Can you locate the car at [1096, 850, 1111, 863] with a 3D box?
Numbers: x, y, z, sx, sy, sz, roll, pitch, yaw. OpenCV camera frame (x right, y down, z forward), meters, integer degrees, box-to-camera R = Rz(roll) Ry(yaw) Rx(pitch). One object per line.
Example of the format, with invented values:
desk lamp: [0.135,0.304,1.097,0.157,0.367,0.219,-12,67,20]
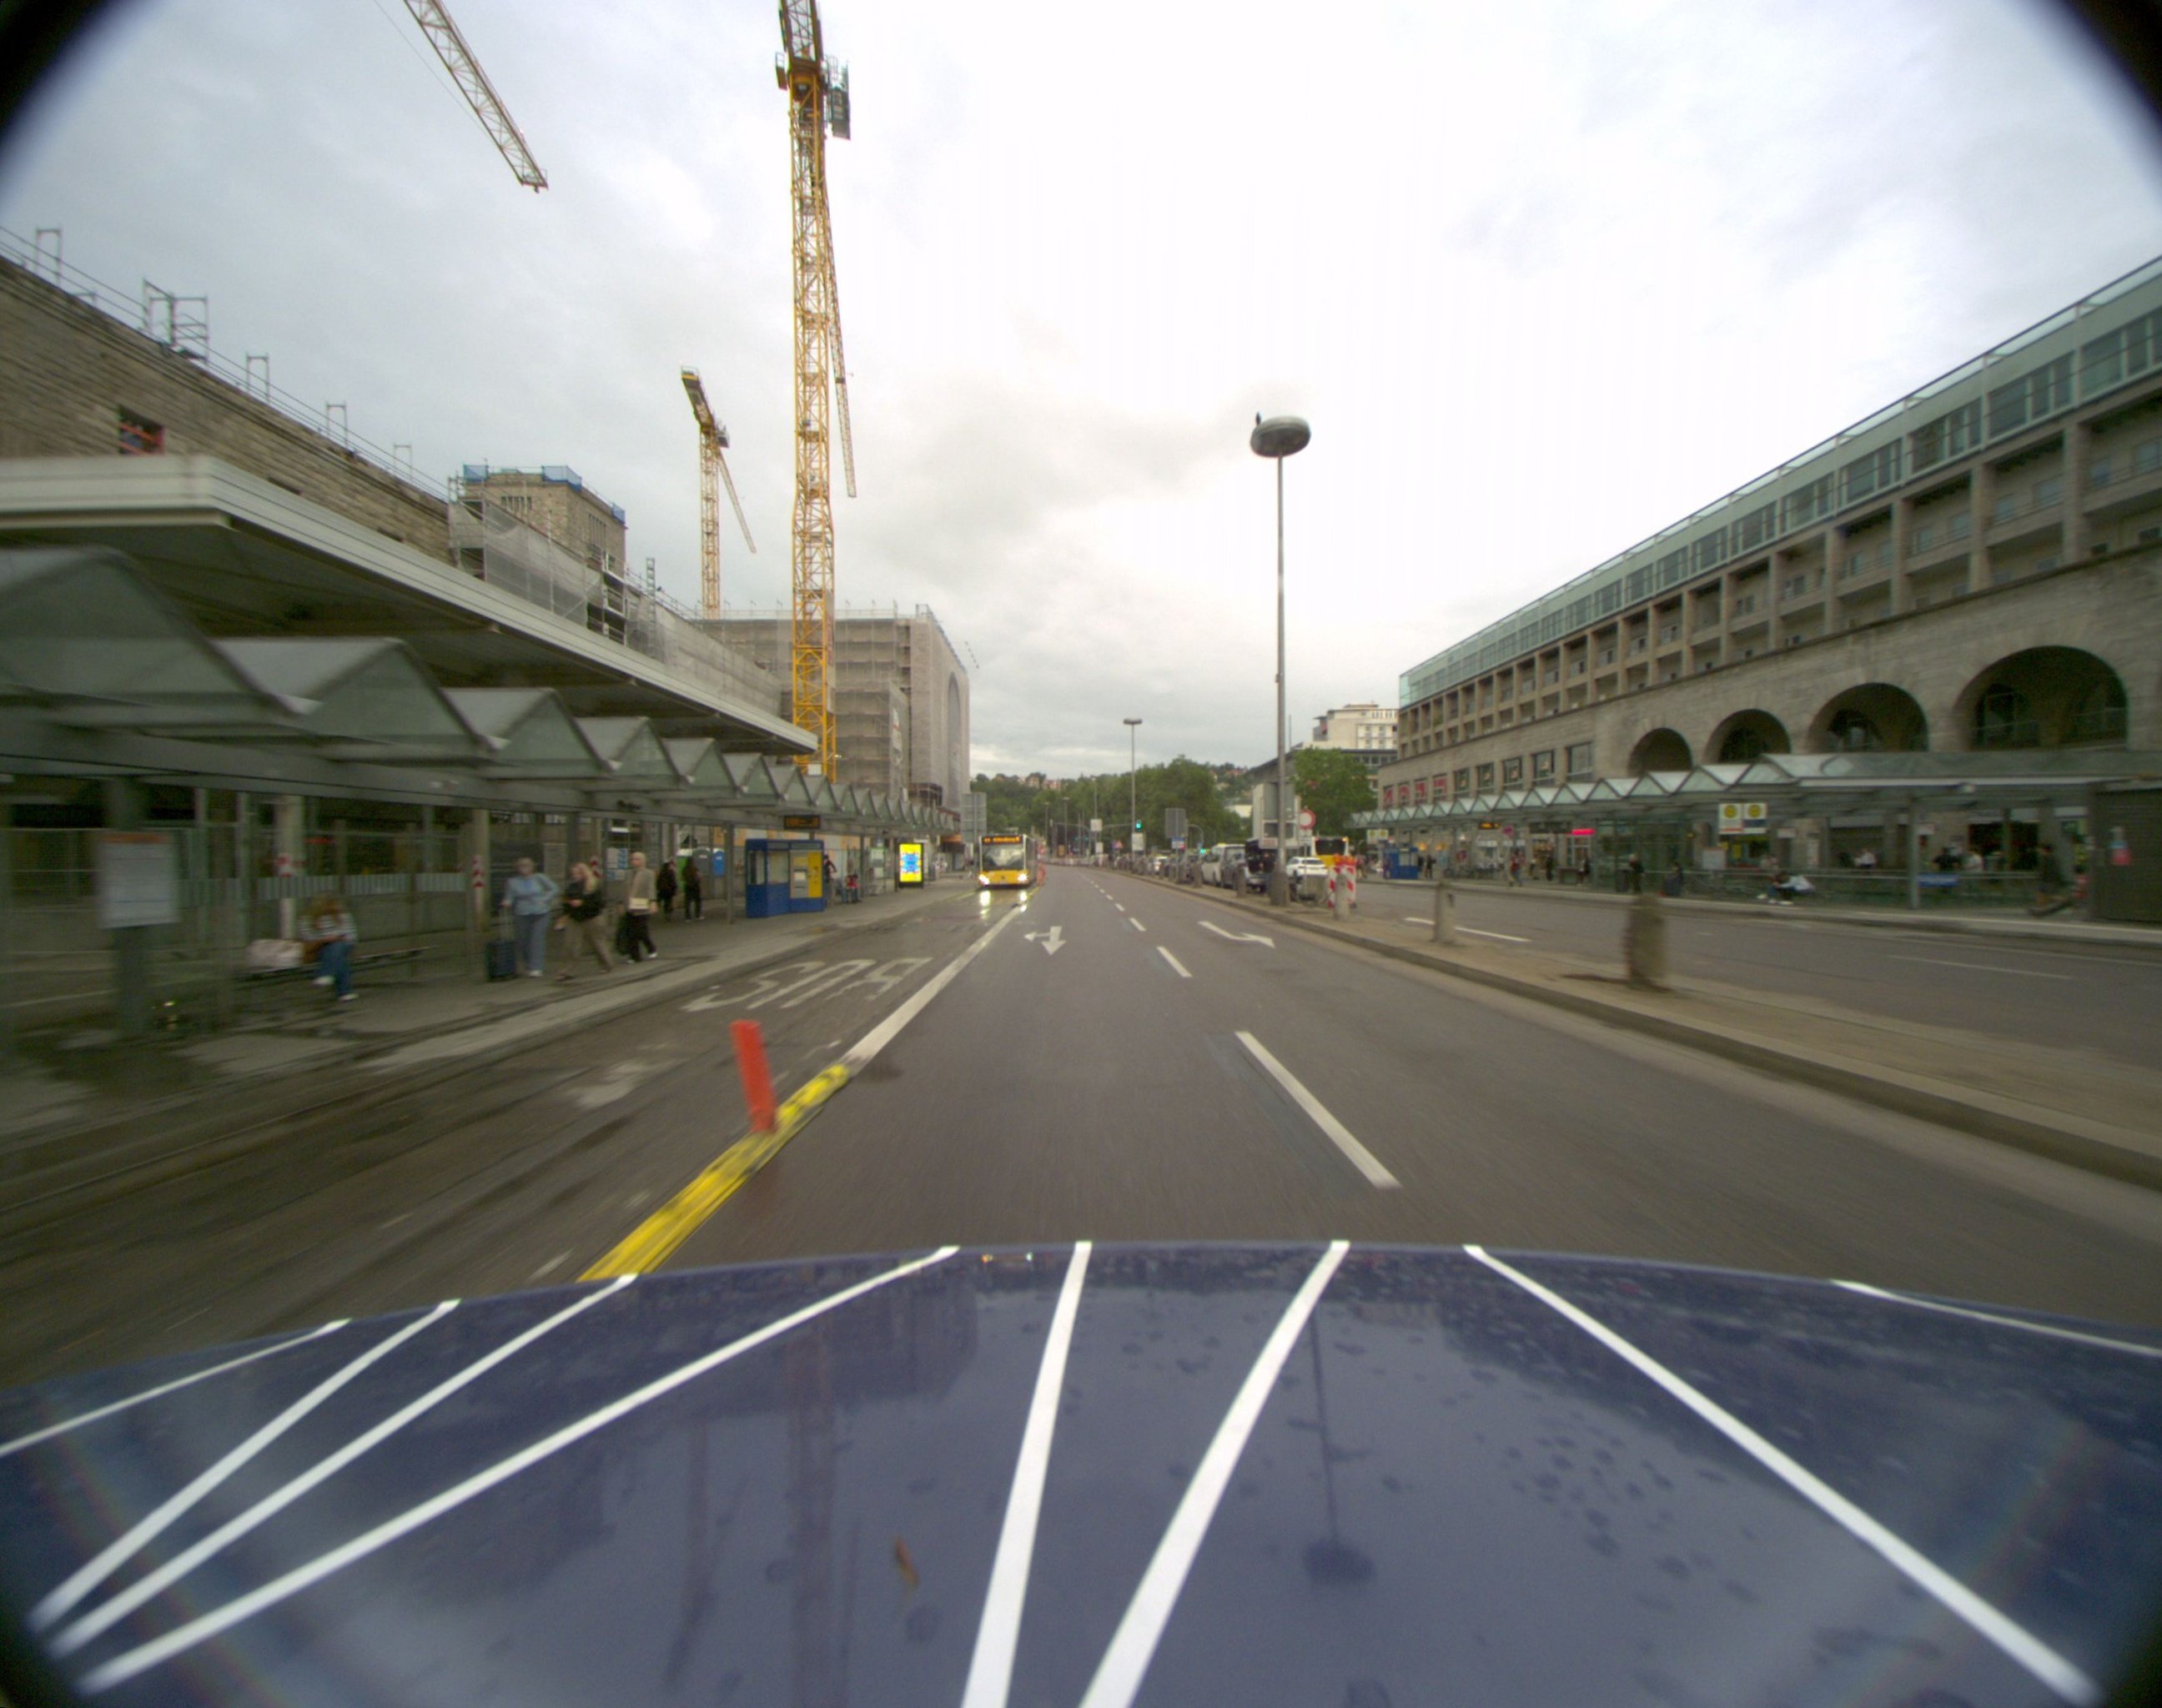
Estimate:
car: [3.607,0.406,121.400,1.908,1.887,4.521,-2,0,-4]

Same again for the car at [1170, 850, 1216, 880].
car: [6.805,0.645,46.772,1.935,1.689,4.884,1,0,-2]

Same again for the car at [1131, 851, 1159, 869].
car: [5.978,0.541,71.216,1.935,1.567,5.259,1,0,-2]

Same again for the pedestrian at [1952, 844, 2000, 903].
pedestrian: [32.340,0.692,27.476,0.770,2.114,0.806,0,1,7]

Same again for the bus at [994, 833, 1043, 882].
bus: [-4.259,0.209,53.581,2.762,3.051,9.078,-2,1,-1]

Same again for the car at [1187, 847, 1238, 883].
car: [7.096,0.561,41.550,1.935,1.796,4.581,1,0,-1]

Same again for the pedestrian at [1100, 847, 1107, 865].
pedestrian: [2.581,0.239,88.417,0.725,1.996,0.772,-2,0,-2]

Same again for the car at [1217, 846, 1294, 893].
car: [6.885,0.579,30.470,1.998,1.712,4.781,0,0,0]

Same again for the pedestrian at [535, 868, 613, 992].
pedestrian: [-6.627,0.966,9.954,0.522,1.557,0.729,0,0,-1]

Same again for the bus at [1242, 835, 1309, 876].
bus: [16.754,0.128,66.302,2.885,3.356,10.572,0,0,-1]

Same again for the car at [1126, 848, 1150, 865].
car: [5.927,0.251,78.947,1.935,1.681,4.680,1,0,-2]

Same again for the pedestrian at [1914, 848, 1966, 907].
pedestrian: [31.193,0.845,27.602,0.770,2.114,0.979,0,1,7]

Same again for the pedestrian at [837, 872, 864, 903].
pedestrian: [-8.265,1.190,27.299,0.729,1.059,0.808,0,0,-1]

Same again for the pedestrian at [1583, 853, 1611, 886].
pedestrian: [25.962,0.772,38.266,0.758,1.645,0.894,-2,0,1]

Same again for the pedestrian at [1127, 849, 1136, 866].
pedestrian: [4.835,0.307,72.247,0.724,1.597,0.996,-2,0,-2]

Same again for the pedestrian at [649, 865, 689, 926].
pedestrian: [-10.988,1.088,20.305,0.709,1.598,0.729,0,0,-5]

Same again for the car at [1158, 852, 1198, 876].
car: [6.673,0.662,52.774,1.935,1.567,5.050,1,0,-3]

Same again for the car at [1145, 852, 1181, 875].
car: [6.315,0.723,58.810,1.982,1.649,5.191,1,0,-3]

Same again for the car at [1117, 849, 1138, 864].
car: [5.461,0.267,89.064,1.935,1.681,4.680,1,0,-2]

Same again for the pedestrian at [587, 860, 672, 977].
pedestrian: [-6.756,0.942,11.412,0.764,1.683,0.822,0,0,-1]

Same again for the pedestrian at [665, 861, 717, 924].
pedestrian: [-10.218,0.992,19.941,0.908,1.597,0.745,-2,0,0]

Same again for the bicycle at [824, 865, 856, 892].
bicycle: [-11.123,1.118,35.179,0.817,1.191,2.405,0,0,-3]

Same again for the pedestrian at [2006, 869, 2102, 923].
pedestrian: [22.410,0.949,17.531,0.581,1.175,1.261,-2,0,-1]

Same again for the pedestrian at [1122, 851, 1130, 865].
pedestrian: [5.736,0.458,96.851,0.785,1.765,0.606,2,0,-14]

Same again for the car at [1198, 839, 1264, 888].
car: [6.999,0.418,36.047,1.999,2.166,5.543,0,0,0]

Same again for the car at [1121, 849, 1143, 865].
car: [5.619,0.270,84.030,1.935,1.681,4.680,1,0,-2]

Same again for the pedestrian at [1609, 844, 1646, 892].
pedestrian: [23.188,0.581,32.260,0.844,2.002,0.960,0,0,-1]

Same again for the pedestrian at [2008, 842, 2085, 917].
pedestrian: [24.559,0.640,19.337,0.721,1.845,0.930,-2,0,-1]

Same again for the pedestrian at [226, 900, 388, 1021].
pedestrian: [-8.687,1.167,8.575,0.915,1.223,0.840,-2,0,0]

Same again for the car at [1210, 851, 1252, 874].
car: [10.705,0.614,54.556,1.967,1.555,4.835,2,0,-1]

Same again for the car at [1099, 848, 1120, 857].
car: [6.850,-0.315,182.838,4.831,2.001,2.036,-2,0,0]

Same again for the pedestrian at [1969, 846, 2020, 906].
pedestrian: [31.367,0.744,26.095,0.805,2.029,0.771,0,1,1]

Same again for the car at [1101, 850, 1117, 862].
car: [4.266,0.369,115.183,1.908,1.689,4.498,-2,0,-4]

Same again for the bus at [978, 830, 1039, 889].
bus: [-4.073,0.251,44.526,2.762,3.048,8.991,-2,1,-1]

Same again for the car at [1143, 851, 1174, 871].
car: [6.581,0.577,64.976,1.935,1.567,5.010,1,0,-3]

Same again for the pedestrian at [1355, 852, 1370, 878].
pedestrian: [18.890,0.720,50.910,0.625,1.715,0.856,-2,0,-1]

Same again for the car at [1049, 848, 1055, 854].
car: [-8.647,-0.925,223.883,1.683,1.533,3.173,0,-1,-2]

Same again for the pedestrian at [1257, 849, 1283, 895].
pedestrian: [6.882,0.639,27.701,0.762,1.643,0.763,0,0,-1]

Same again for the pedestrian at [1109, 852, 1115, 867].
pedestrian: [3.561,0.660,87.768,0.700,1.744,0.711,-1,0,-2]

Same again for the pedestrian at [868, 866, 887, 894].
pedestrian: [-8.744,1.112,32.682,0.666,1.180,0.666,0,0,-1]

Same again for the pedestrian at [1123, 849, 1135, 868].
pedestrian: [4.474,0.430,70.942,1.053,1.758,0.616,-1,1,-2]

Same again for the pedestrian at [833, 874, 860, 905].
pedestrian: [-8.183,1.224,26.496,0.729,1.059,0.709,0,0,-1]

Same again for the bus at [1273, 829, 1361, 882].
bus: [17.006,0.090,55.726,2.885,3.439,10.572,-1,0,-1]

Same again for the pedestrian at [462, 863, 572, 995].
pedestrian: [-7.497,0.966,10.143,0.810,1.650,0.804,-2,0,-1]

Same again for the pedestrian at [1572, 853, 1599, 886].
pedestrian: [25.980,0.780,39.169,0.758,1.645,0.894,-2,0,1]

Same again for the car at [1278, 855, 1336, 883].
car: [13.570,0.859,45.993,1.967,1.555,4.835,2,0,-1]

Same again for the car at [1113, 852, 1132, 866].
car: [5.196,0.612,95.204,2.020,1.611,4.841,-1,0,-2]

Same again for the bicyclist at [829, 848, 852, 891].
bicyclist: [-11.125,0.716,35.198,0.825,1.970,0.818,0,0,-3]
